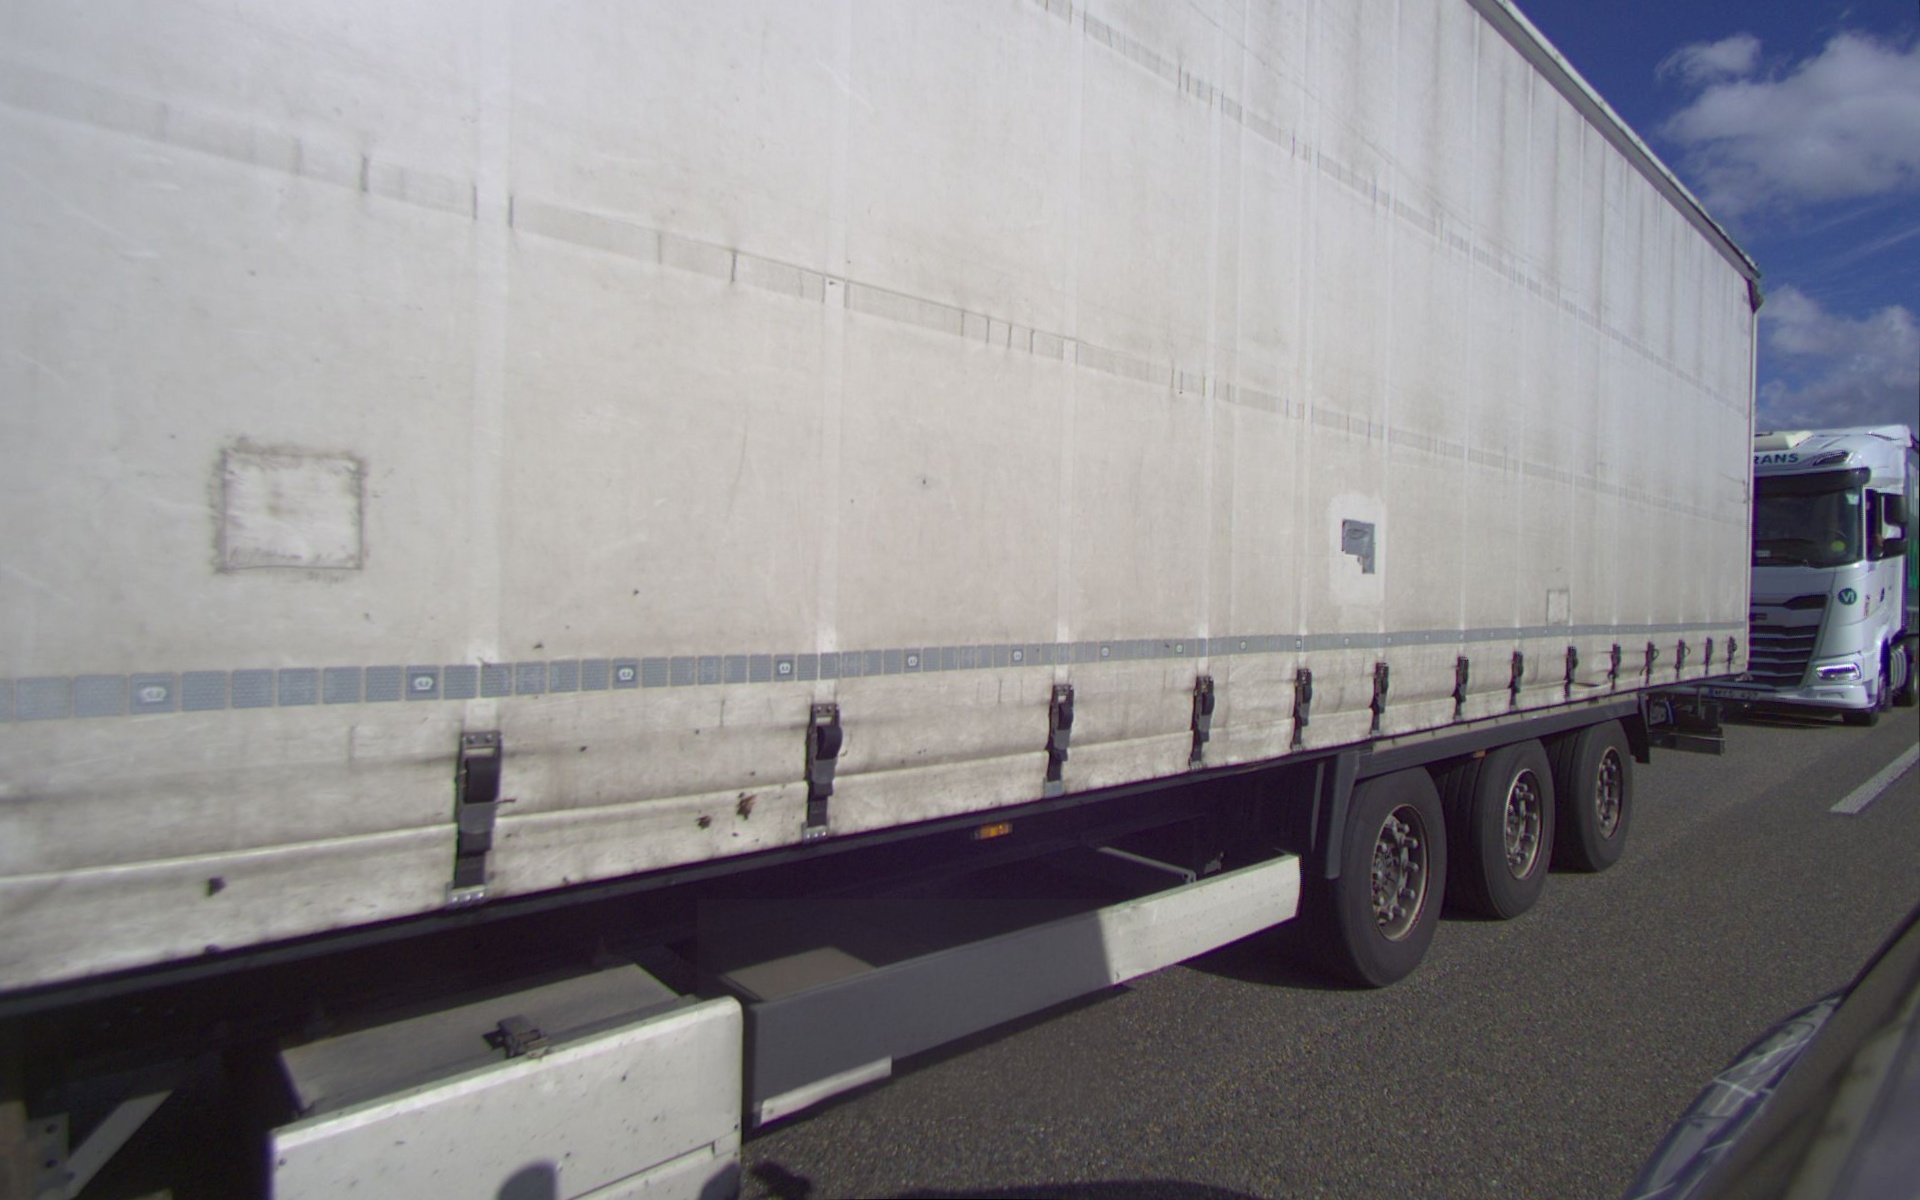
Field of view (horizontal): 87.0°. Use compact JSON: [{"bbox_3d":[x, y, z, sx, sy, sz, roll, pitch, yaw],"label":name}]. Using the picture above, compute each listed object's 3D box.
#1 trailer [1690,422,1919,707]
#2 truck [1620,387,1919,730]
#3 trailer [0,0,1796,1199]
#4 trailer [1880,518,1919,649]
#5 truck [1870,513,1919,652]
[{"bbox_3d":[17.285,-0.531,19.202,13.161,3.917,2.666,0,0,-41],"label":"trailer"},{"bbox_3d":[12.316,-0.503,14.850,6.874,3.917,2.651,0,0,-41],"label":"truck"},{"bbox_3d":[0.503,-0.723,4.356,12.717,4.133,2.708,0,1,-41],"label":"trailer"},{"bbox_3d":[34.338,-0.534,34.500,12.840,3.989,2.796,0,0,-41],"label":"trailer"},{"bbox_3d":[30.051,-0.526,30.790,5.724,3.989,2.806,0,-1,-41],"label":"truck"}]
